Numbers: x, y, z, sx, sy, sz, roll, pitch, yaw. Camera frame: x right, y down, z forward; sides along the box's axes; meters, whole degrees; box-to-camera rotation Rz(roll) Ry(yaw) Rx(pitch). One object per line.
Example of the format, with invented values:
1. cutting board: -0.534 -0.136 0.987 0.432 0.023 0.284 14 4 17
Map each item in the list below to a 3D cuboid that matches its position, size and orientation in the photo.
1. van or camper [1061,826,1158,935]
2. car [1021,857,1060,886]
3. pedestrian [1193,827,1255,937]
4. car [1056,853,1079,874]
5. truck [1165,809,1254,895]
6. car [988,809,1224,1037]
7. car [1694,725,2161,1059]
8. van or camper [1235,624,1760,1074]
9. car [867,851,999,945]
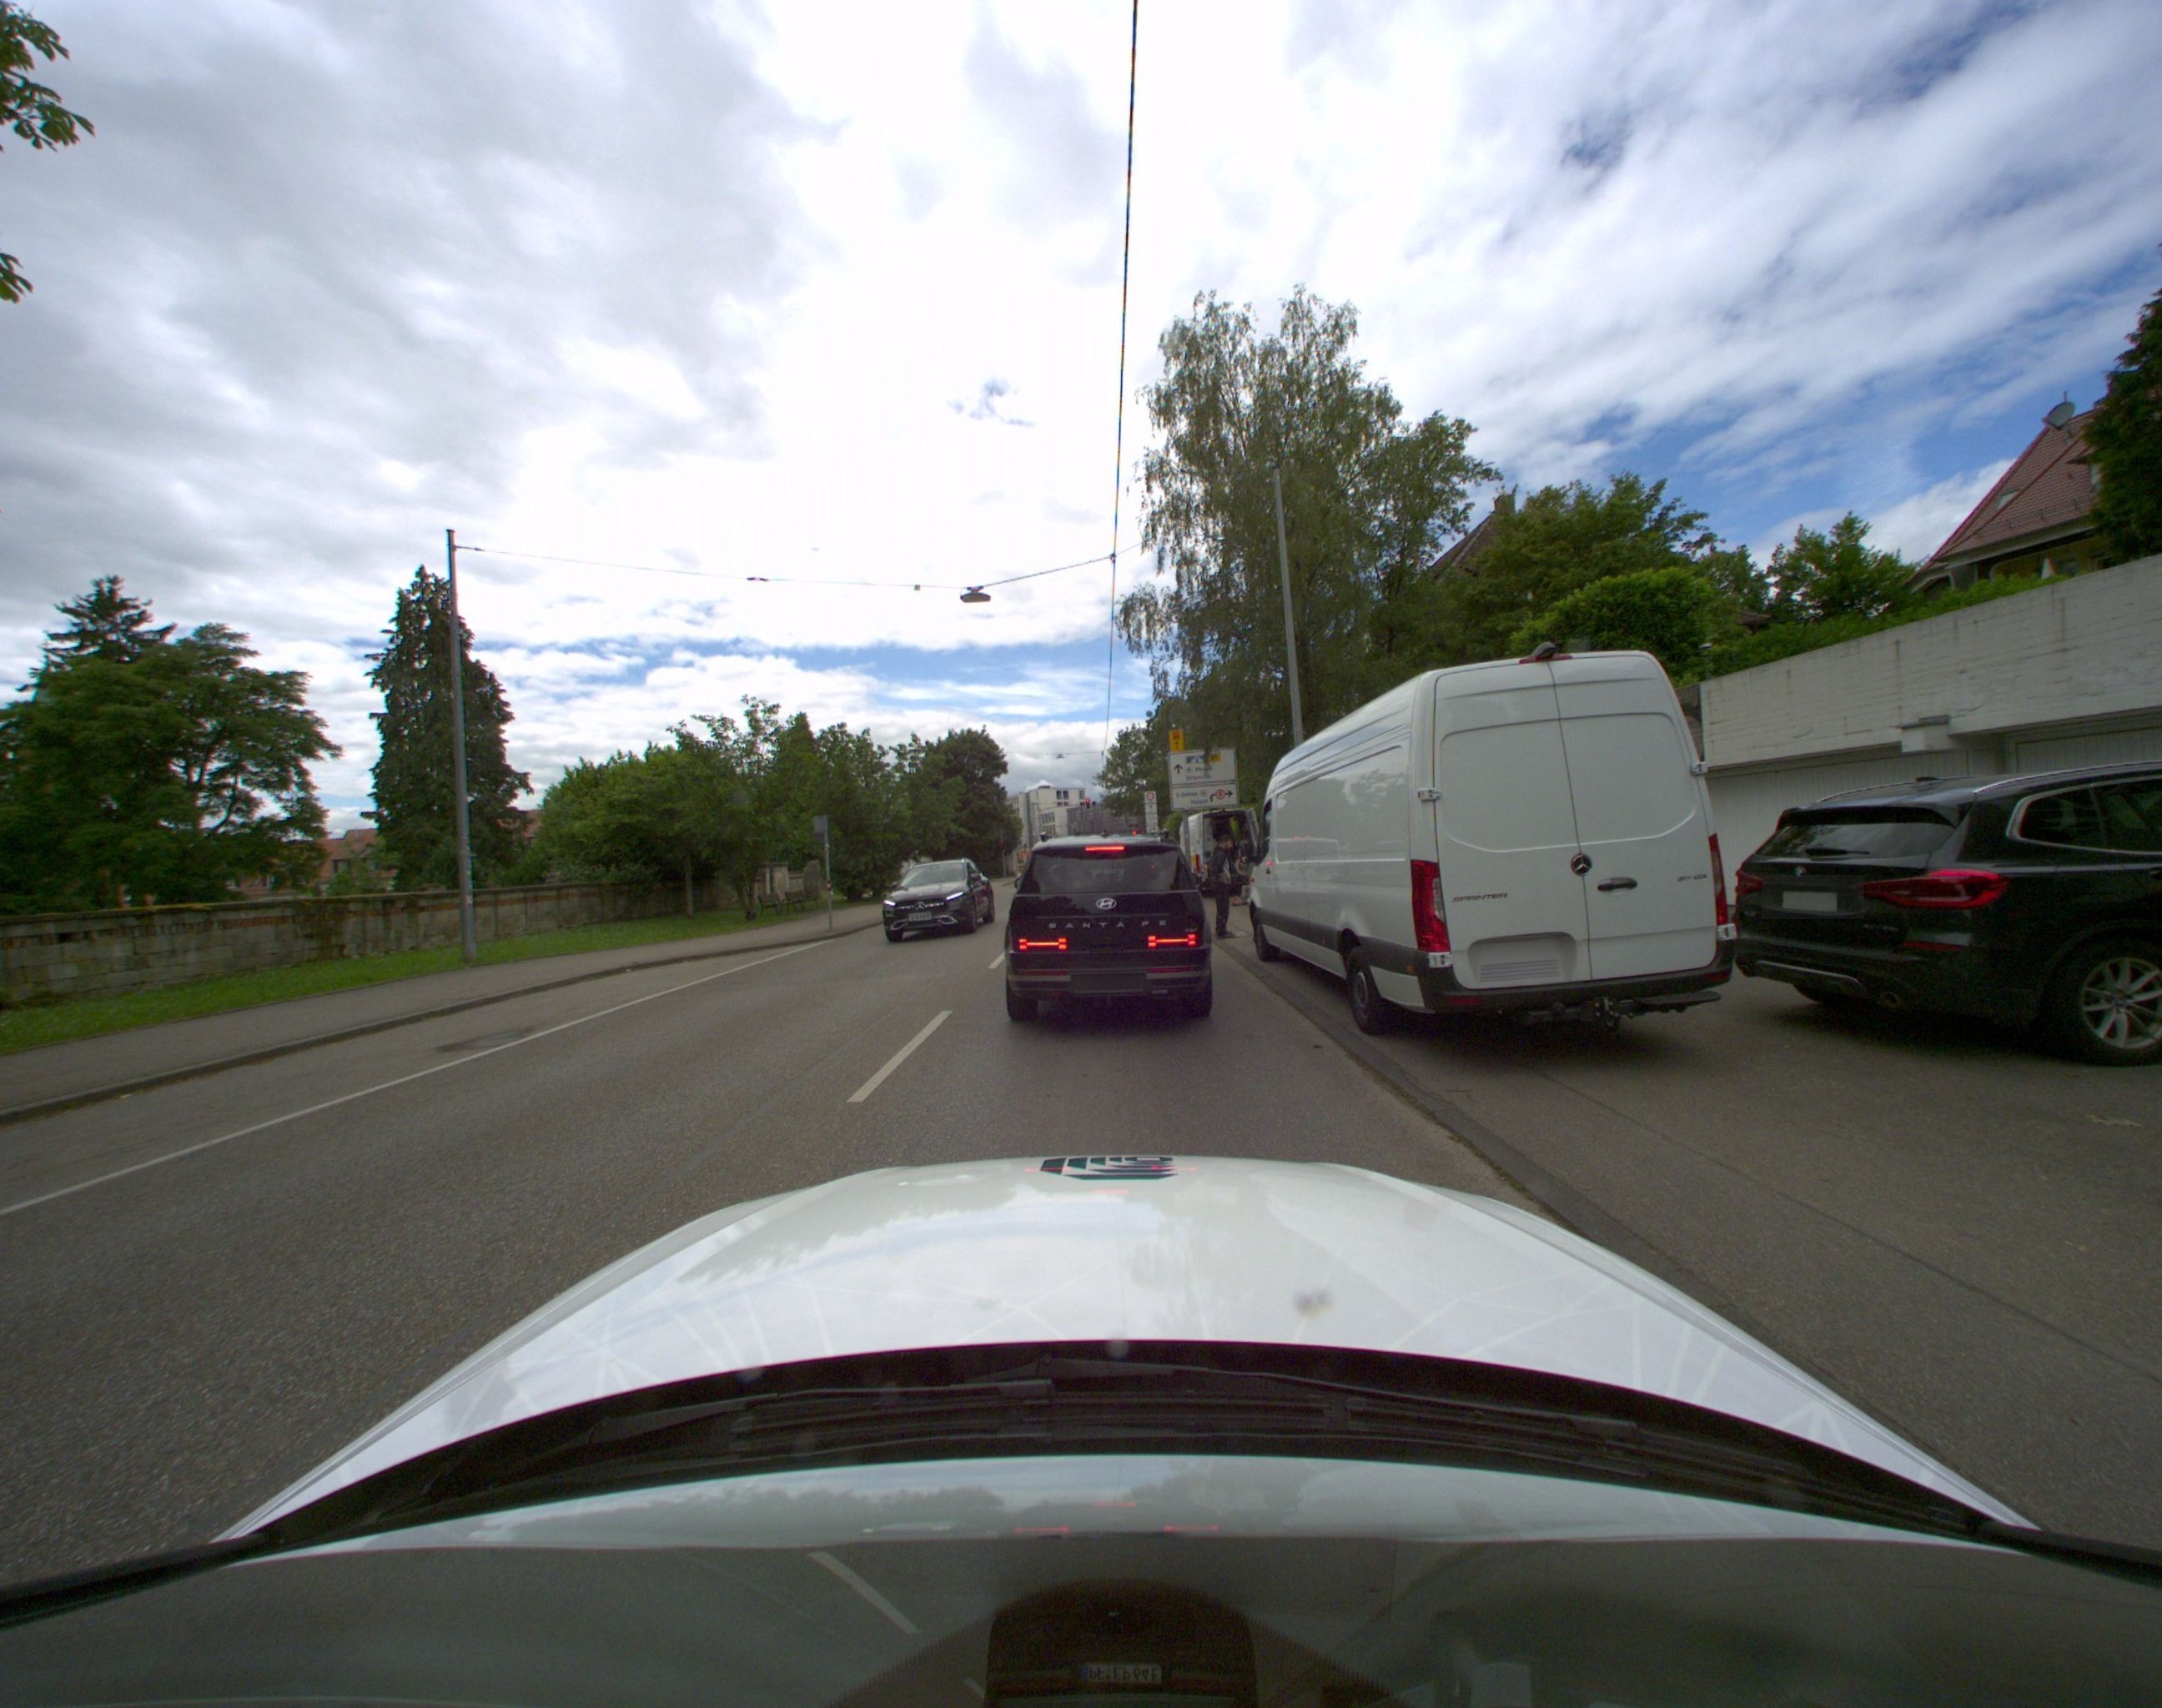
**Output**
1. van or camper: 0.616 0.511 17.616 1.748 2.013 4.002 -3 0 2
2. car: -2.359 0.999 48.183 1.852 1.453 4.112 -6 0 2
3. pedestrian: 2.447 0.464 14.012 0.867 1.797 0.760 -3 0 1
4. car: -1.172 0.814 73.008 1.779 1.653 4.120 -6 0 0
5. truck: 4.279 -0.034 28.085 1.937 2.561 5.213 -5 -1 -1
6. car: 0.268 0.569 8.673 1.883 1.819 4.002 -2 0 2
7. car: 6.864 0.126 5.233 4.398 1.750 1.739 -3 0 3
8. van or camper: 3.135 -0.028 8.202 1.986 2.620 6.543 -3 0 2
9. car: -3.110 0.850 18.004 1.852 1.657 4.307 -6 0 2
